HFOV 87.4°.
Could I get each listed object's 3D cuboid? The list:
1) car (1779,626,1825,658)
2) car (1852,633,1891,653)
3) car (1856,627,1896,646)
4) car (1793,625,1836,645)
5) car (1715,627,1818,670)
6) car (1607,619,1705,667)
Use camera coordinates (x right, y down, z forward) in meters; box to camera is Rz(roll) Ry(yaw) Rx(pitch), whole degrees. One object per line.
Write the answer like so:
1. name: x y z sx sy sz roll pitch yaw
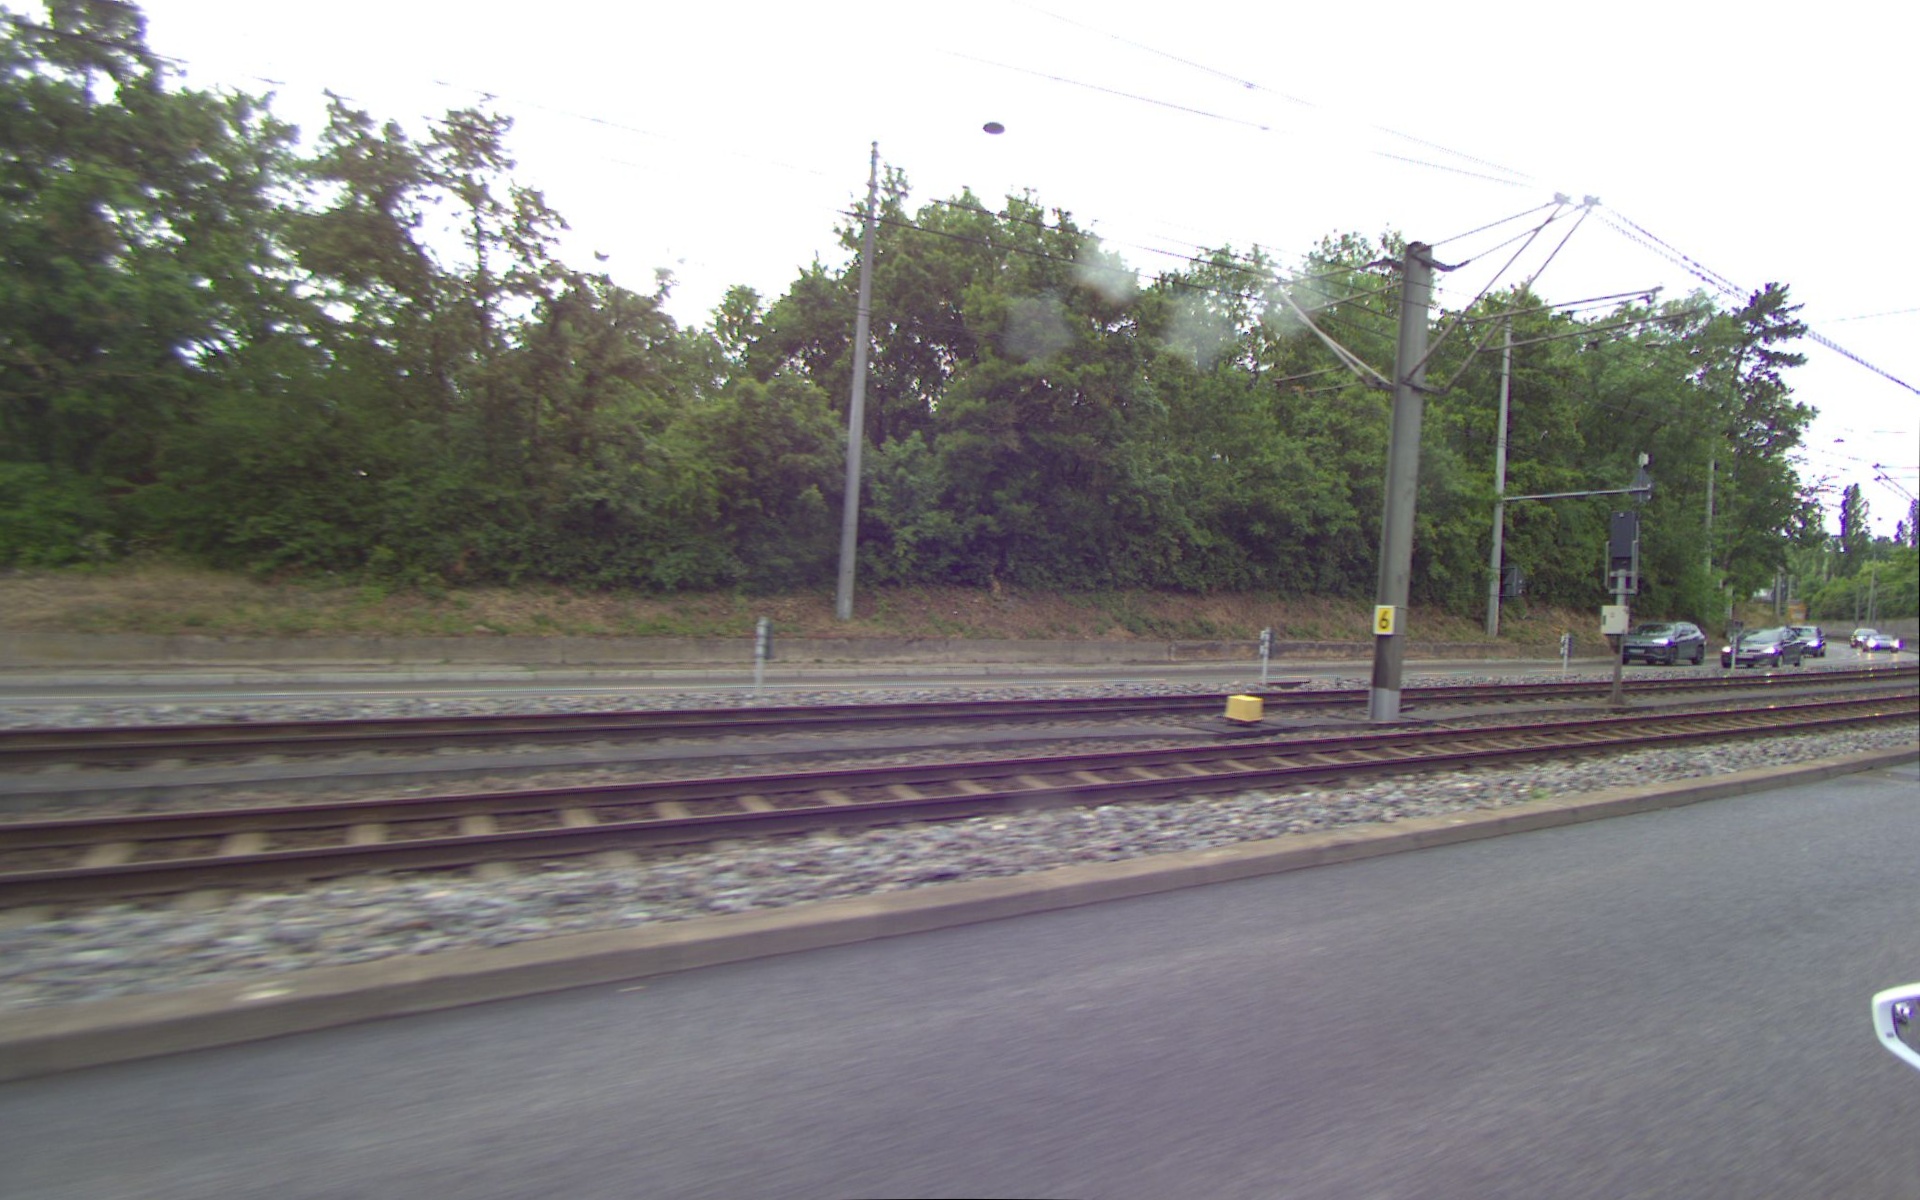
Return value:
1. car: 45.601 2.245 54.390 1.689 1.629 4.386 -1 -2 43
2. car: 62.004 2.931 68.375 1.524 1.274 3.945 -1 -3 37
3. car: 73.273 2.919 80.405 1.515 1.510 3.616 -1 -2 28
4. car: 67.086 2.712 78.921 1.790 1.481 4.650 0 -1 31
5. car: 29.004 1.741 36.111 3.988 1.433 1.696 2 0 -33
6. car: 26.709 1.619 38.501 4.697 1.692 1.770 2 -1 -38
